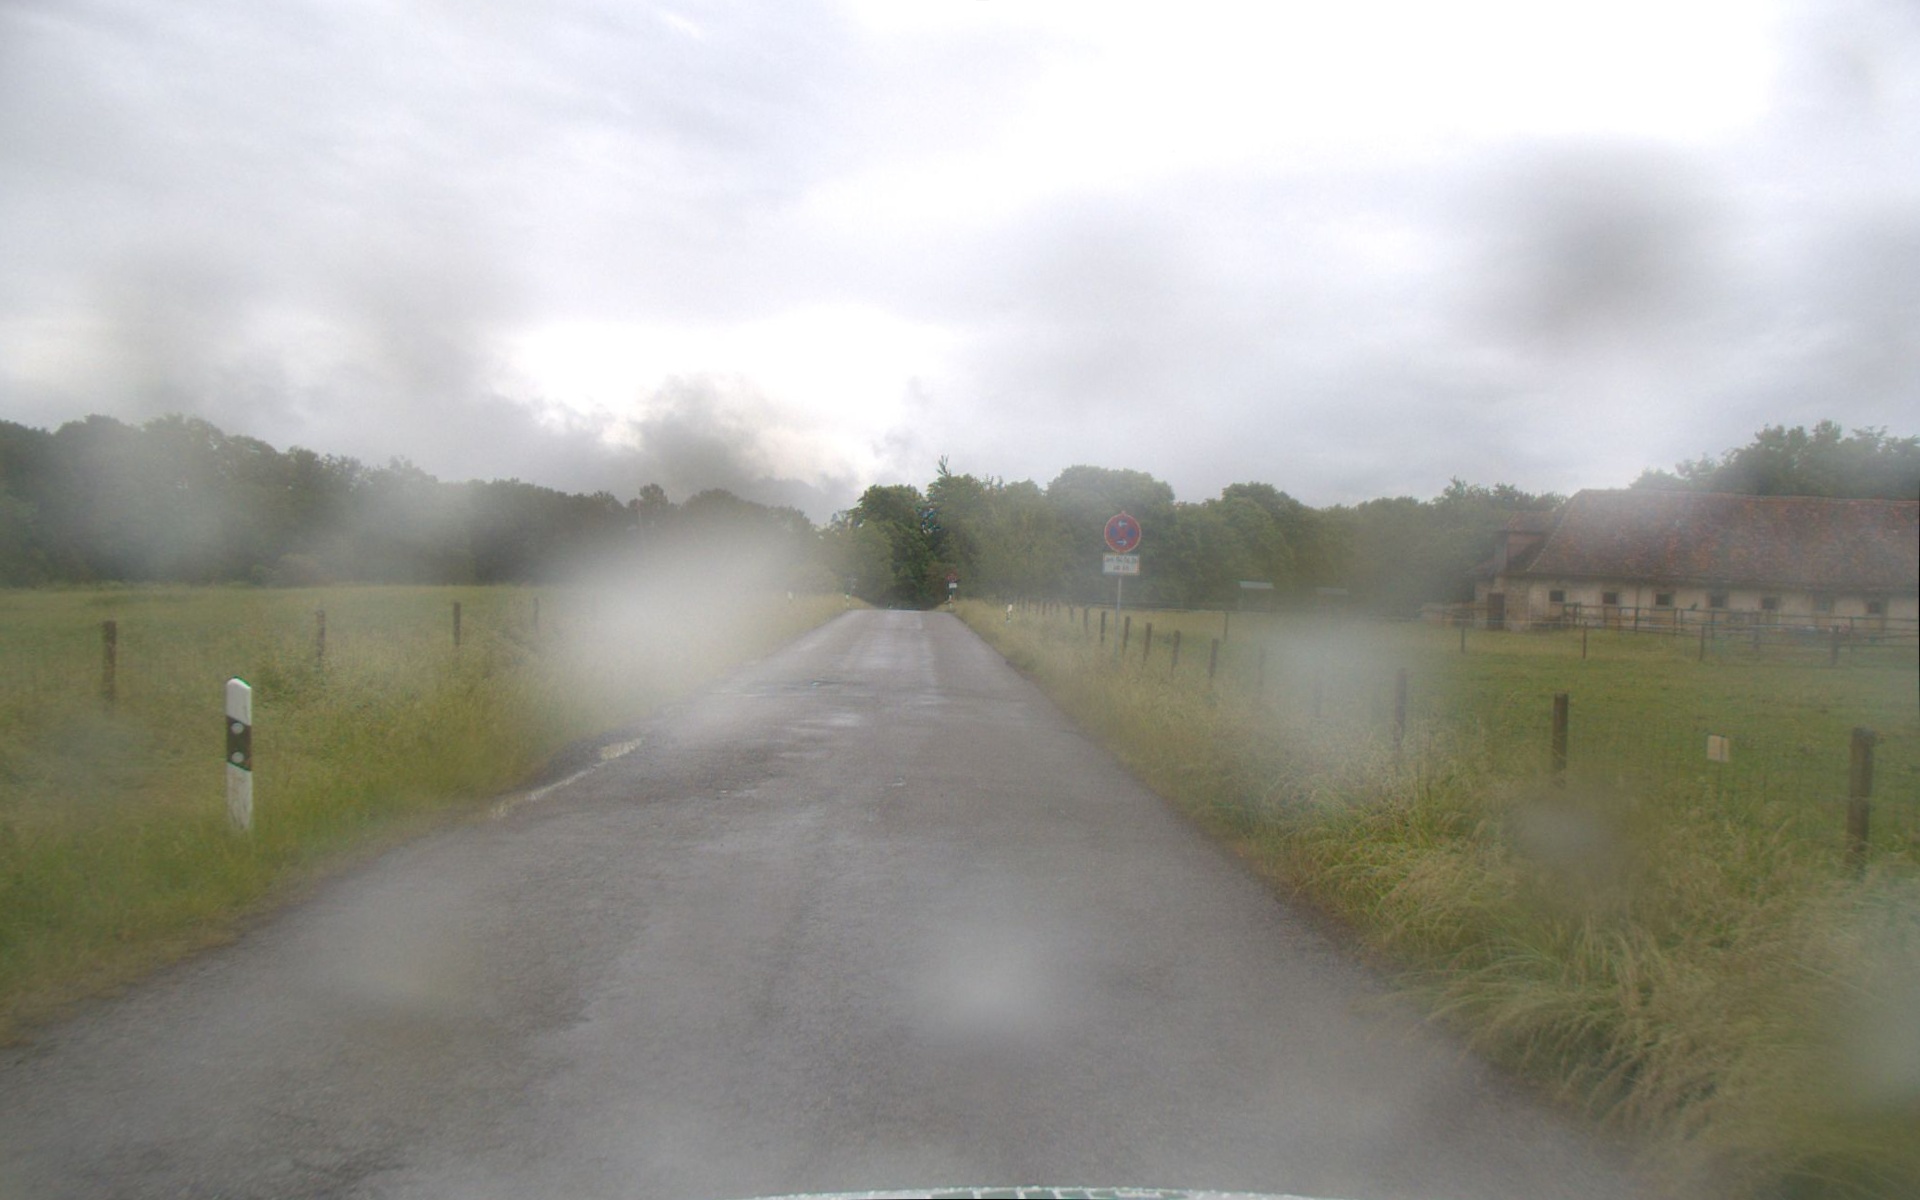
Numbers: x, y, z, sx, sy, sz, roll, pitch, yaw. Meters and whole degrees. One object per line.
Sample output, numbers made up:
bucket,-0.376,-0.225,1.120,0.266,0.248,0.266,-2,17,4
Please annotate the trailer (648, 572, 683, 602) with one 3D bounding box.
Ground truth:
trailer,-15.788,-0.724,88.501,1.720,1.531,3.081,1,1,-12
